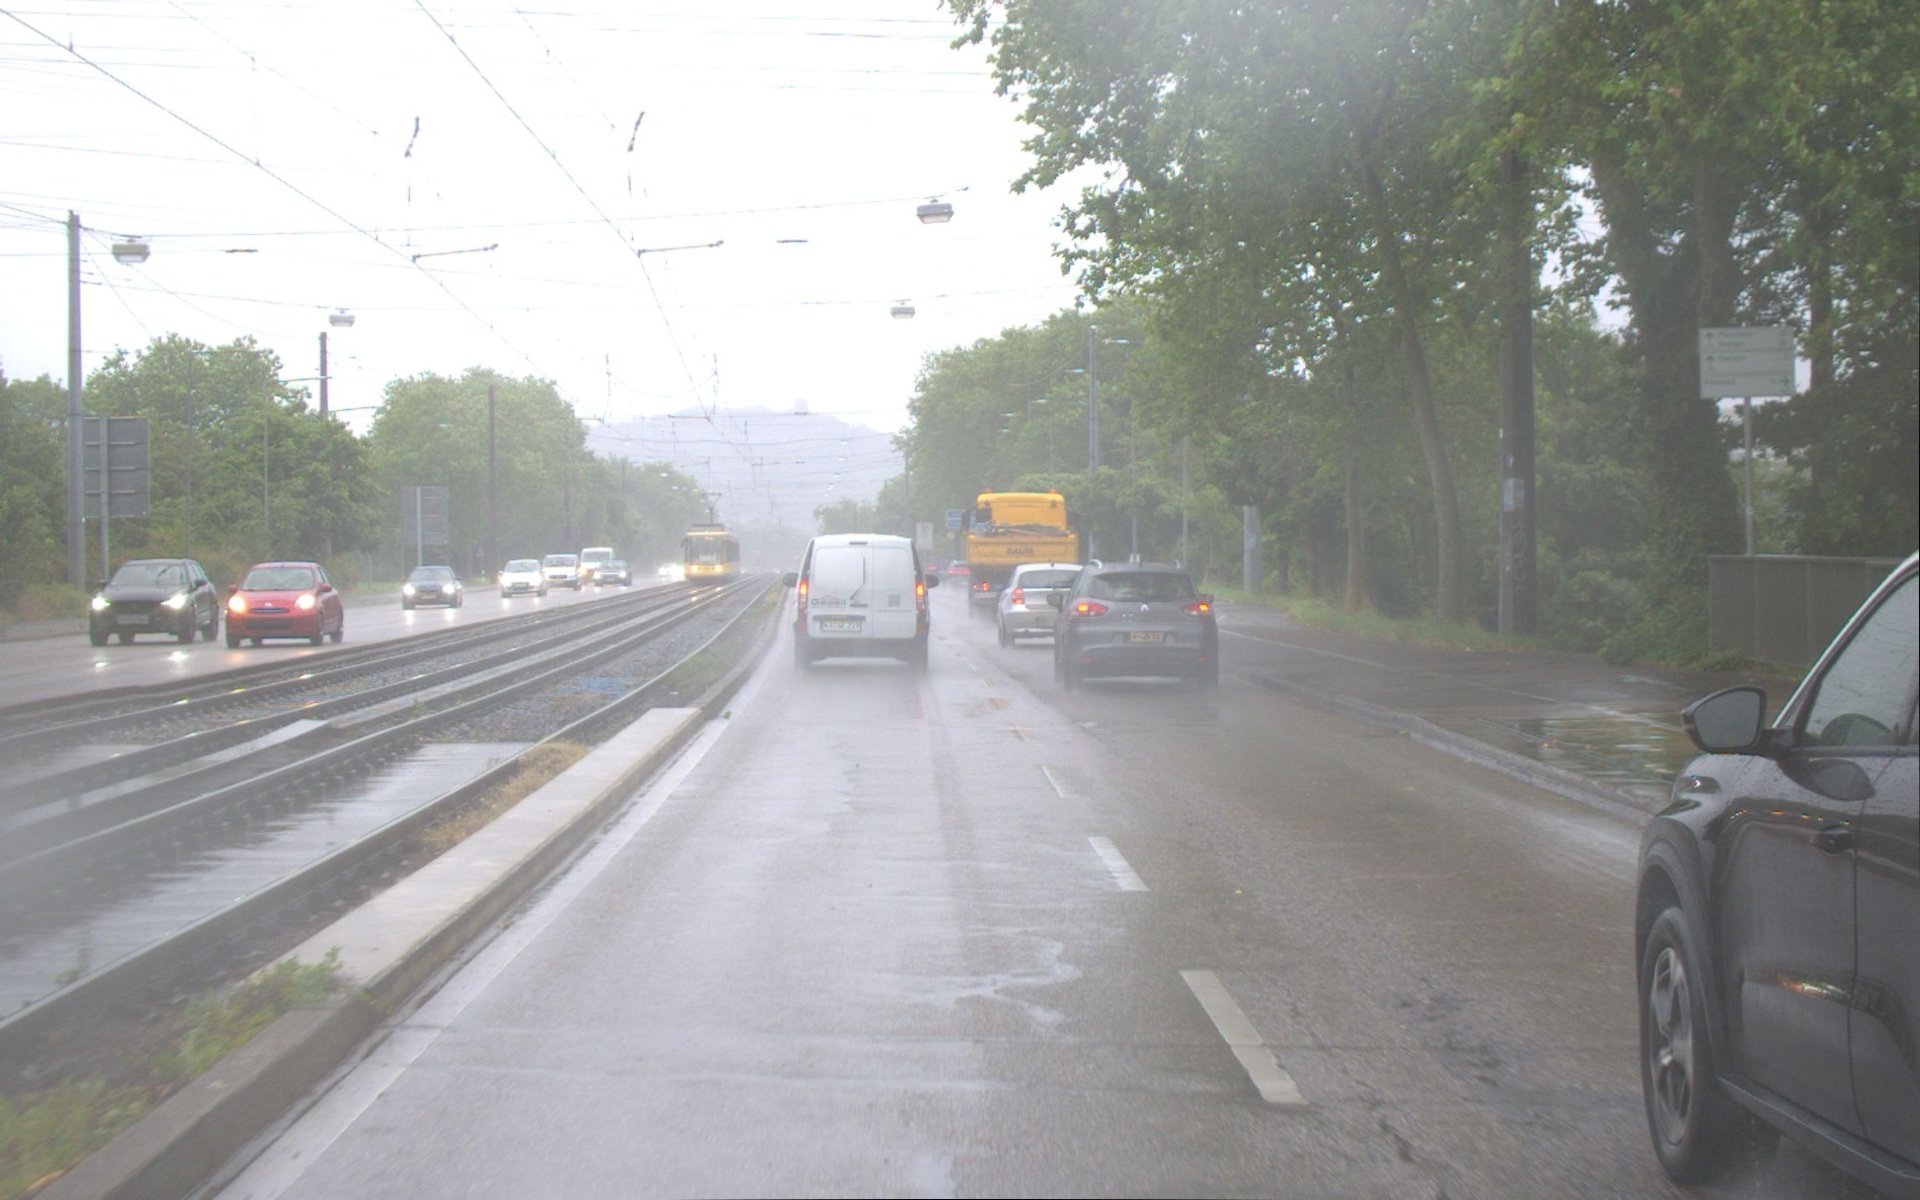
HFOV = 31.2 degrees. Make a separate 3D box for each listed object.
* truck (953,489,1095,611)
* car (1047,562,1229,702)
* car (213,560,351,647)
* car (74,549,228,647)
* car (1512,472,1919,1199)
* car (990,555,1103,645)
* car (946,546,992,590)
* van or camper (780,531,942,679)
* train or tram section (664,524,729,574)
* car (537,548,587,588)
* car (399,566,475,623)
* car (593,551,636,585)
[{"bbox_3d":[1.447,-1.209,81.216,3.112,2.763,6.330,0,1,-1],"label":"truck"},{"bbox_3d":[1.964,0.323,38.884,1.818,1.409,3.779,1,2,0],"label":"car"},{"bbox_3d":[-12.184,0.043,61.976,1.657,1.481,4.013,-1,1,0],"label":"car"},{"bbox_3d":[-15.647,-0.064,66.657,1.993,1.809,4.000,-1,1,0],"label":"car"},{"bbox_3d":[2.551,0.614,6.964,1.899,1.711,4.726,1,2,-2],"label":"car"},{"bbox_3d":[1.456,-0.026,59.038,1.818,1.409,3.779,1,2,0],"label":"car"},{"bbox_3d":[0.399,-1.440,153.263,1.993,1.897,4.000,1,1,0],"label":"car"},{"bbox_3d":[-1.362,0.025,45.712,1.993,1.778,4.001,1,2,-3],"label":"van or camper"},{"bbox_3d":[-15.722,-3.105,206.054,2.850,2.884,14.007,-1,1,-1],"label":"train or tram section"},{"bbox_3d":[-19.896,-1.605,171.891,1.993,1.897,4.000,1,1,0],"label":"car"},{"bbox_3d":[-18.220,-0.202,119.990,1.993,1.897,4.000,1,1,0],"label":"car"},{"bbox_3d":[-19.855,-1.856,197.716,1.993,1.897,4.000,1,1,0],"label":"car"}]
